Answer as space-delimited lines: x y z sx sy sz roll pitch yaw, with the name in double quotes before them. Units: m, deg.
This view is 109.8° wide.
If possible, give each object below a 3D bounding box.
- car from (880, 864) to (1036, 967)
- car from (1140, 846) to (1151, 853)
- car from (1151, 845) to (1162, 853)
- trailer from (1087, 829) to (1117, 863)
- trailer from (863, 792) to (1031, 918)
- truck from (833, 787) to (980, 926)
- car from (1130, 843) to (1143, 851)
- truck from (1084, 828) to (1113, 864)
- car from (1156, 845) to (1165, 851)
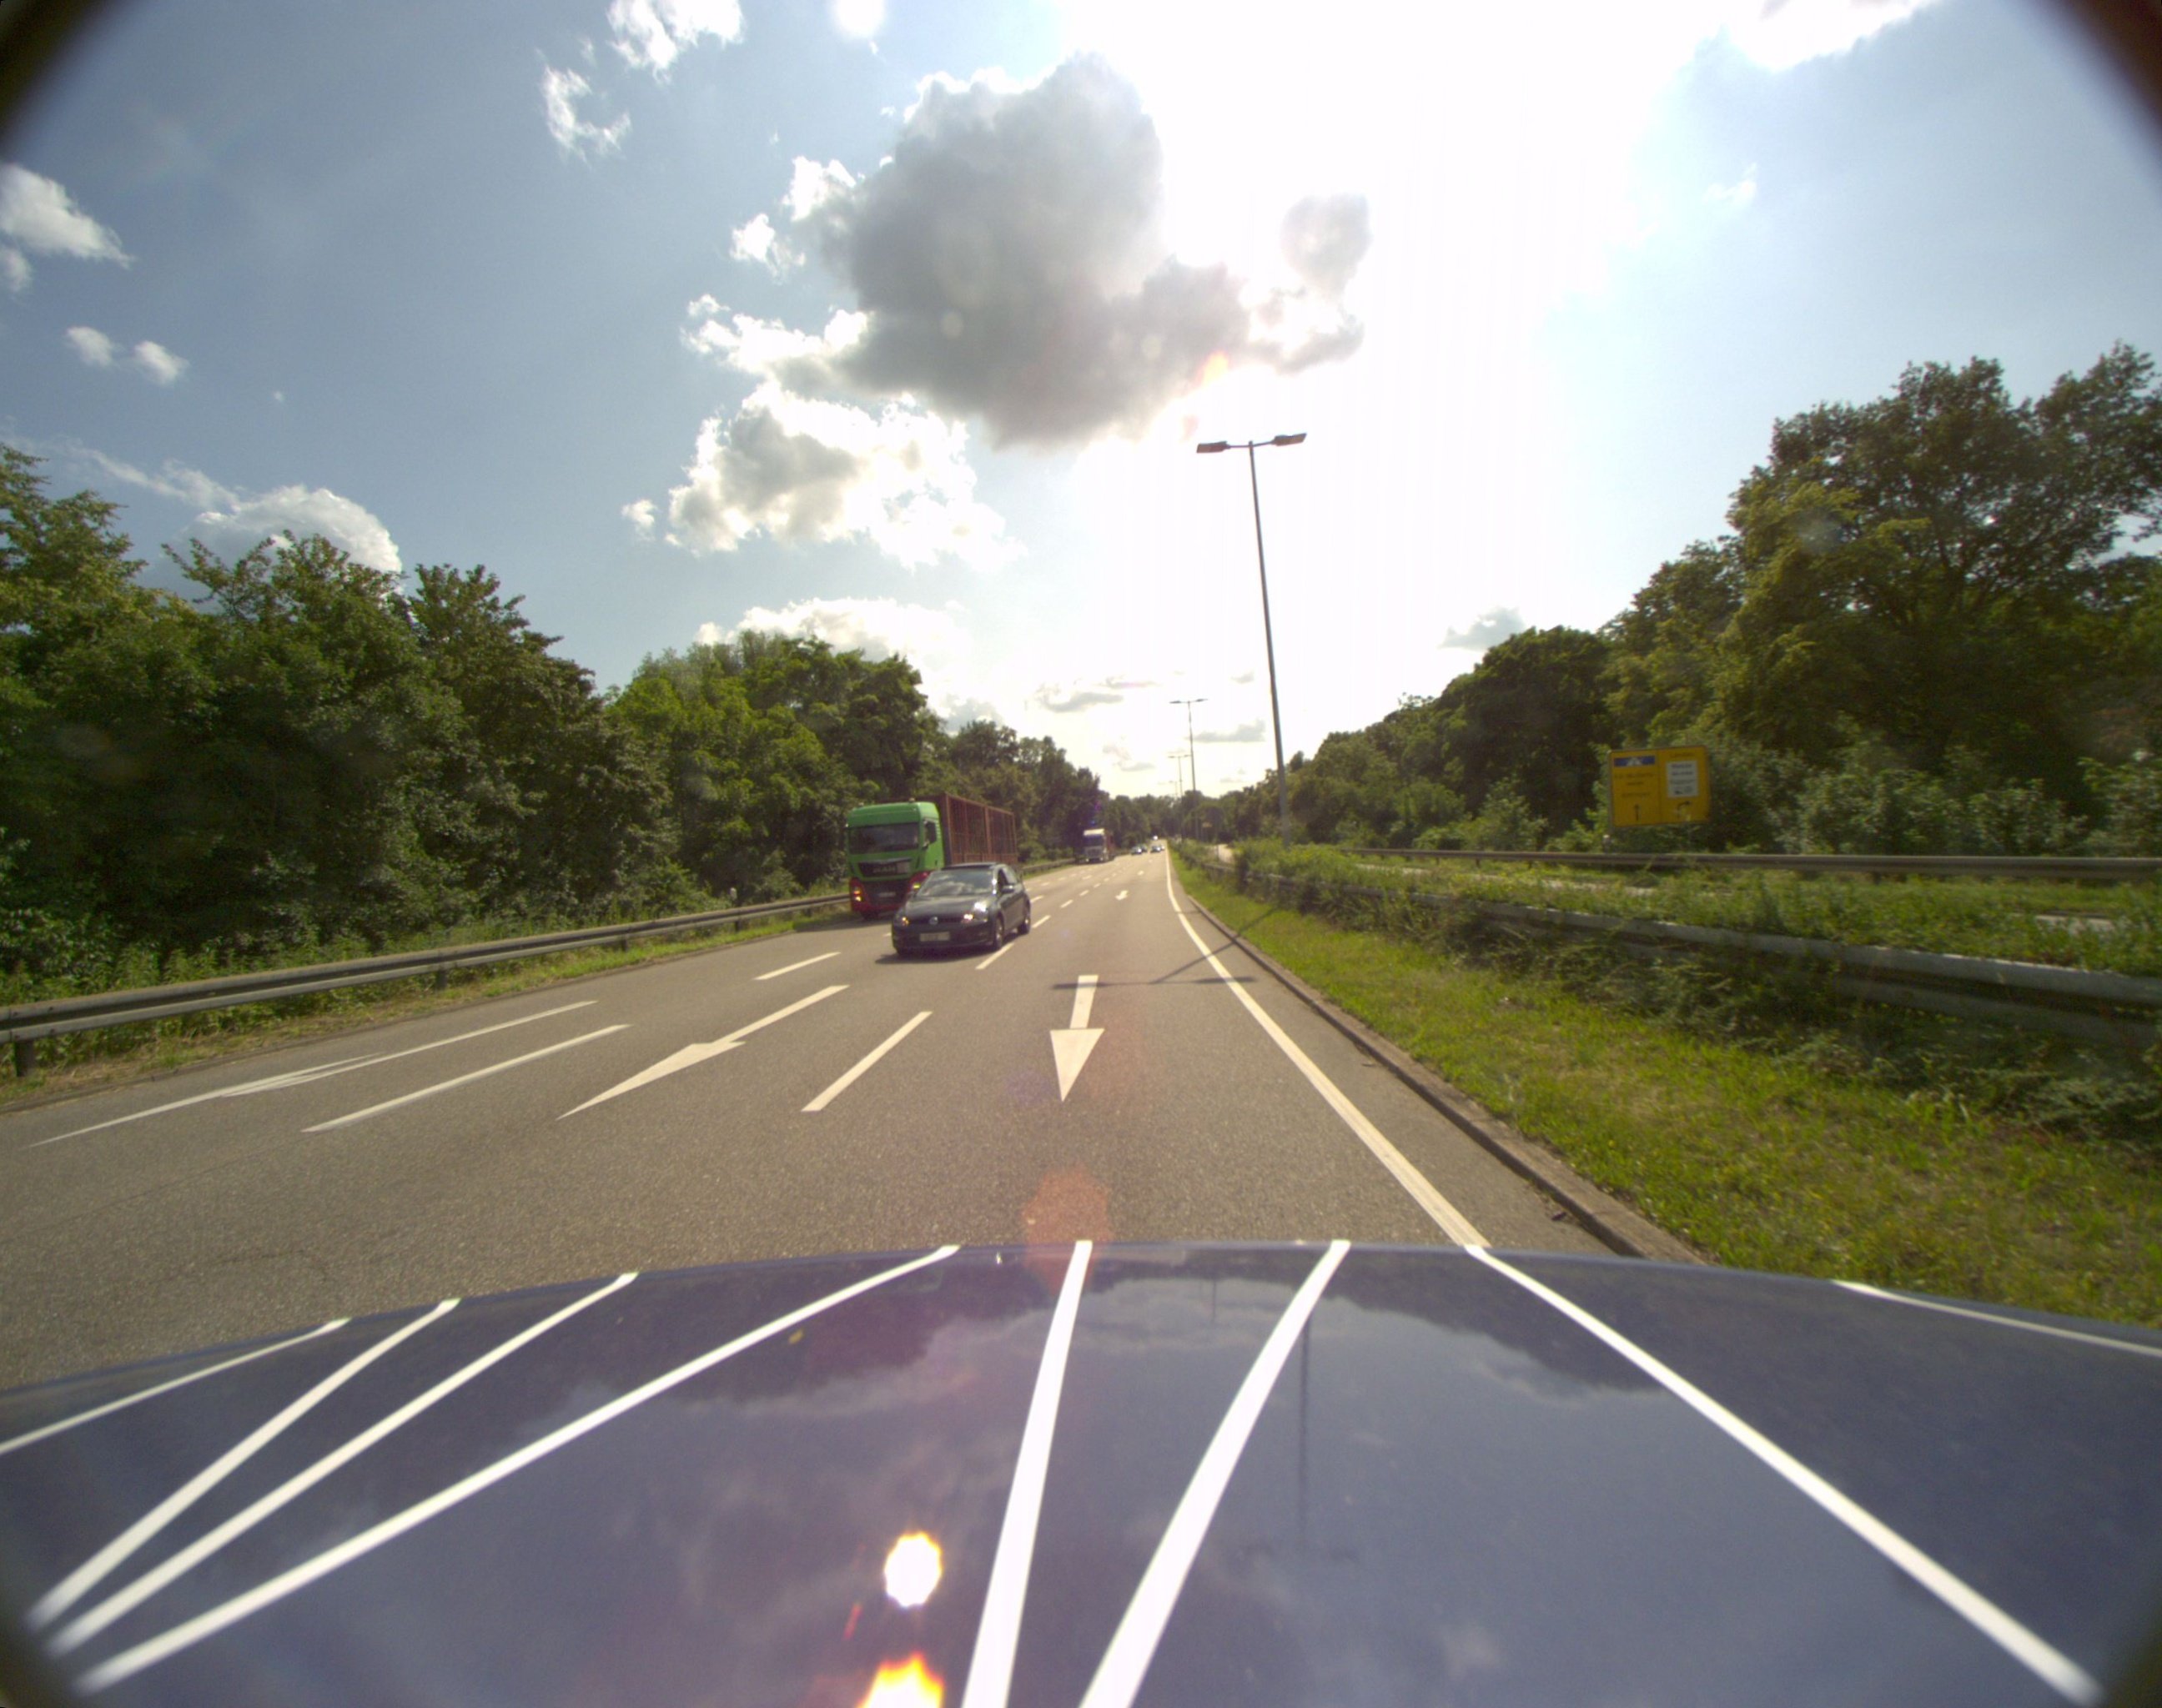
"car" -2.072 1.006 13.985 1.735 1.468 4.048 -3 0 6
"car" 13.034 -0.945 153.638 1.998 1.330 4.001 -3 0 5
"car" 13.909 -0.940 140.387 1.796 1.368 4.002 -3 0 7
"trailer" 2.822 -0.997 97.970 2.694 3.948 12.396 -5 0 6
"trailer" -4.810 -0.019 31.695 2.590 3.871 14.507 -5 0 7
"truck" -5.521 0.054 25.262 2.590 3.871 6.064 -5 0 6
"car" 9.816 -1.191 134.611 1.997 1.330 4.002 -3 0 8
"truck" 2.150 -0.919 90.900 2.690 3.948 7.386 -5 0 6
"car" 17.280 -1.291 165.638 1.796 1.368 4.002 -3 0 7
